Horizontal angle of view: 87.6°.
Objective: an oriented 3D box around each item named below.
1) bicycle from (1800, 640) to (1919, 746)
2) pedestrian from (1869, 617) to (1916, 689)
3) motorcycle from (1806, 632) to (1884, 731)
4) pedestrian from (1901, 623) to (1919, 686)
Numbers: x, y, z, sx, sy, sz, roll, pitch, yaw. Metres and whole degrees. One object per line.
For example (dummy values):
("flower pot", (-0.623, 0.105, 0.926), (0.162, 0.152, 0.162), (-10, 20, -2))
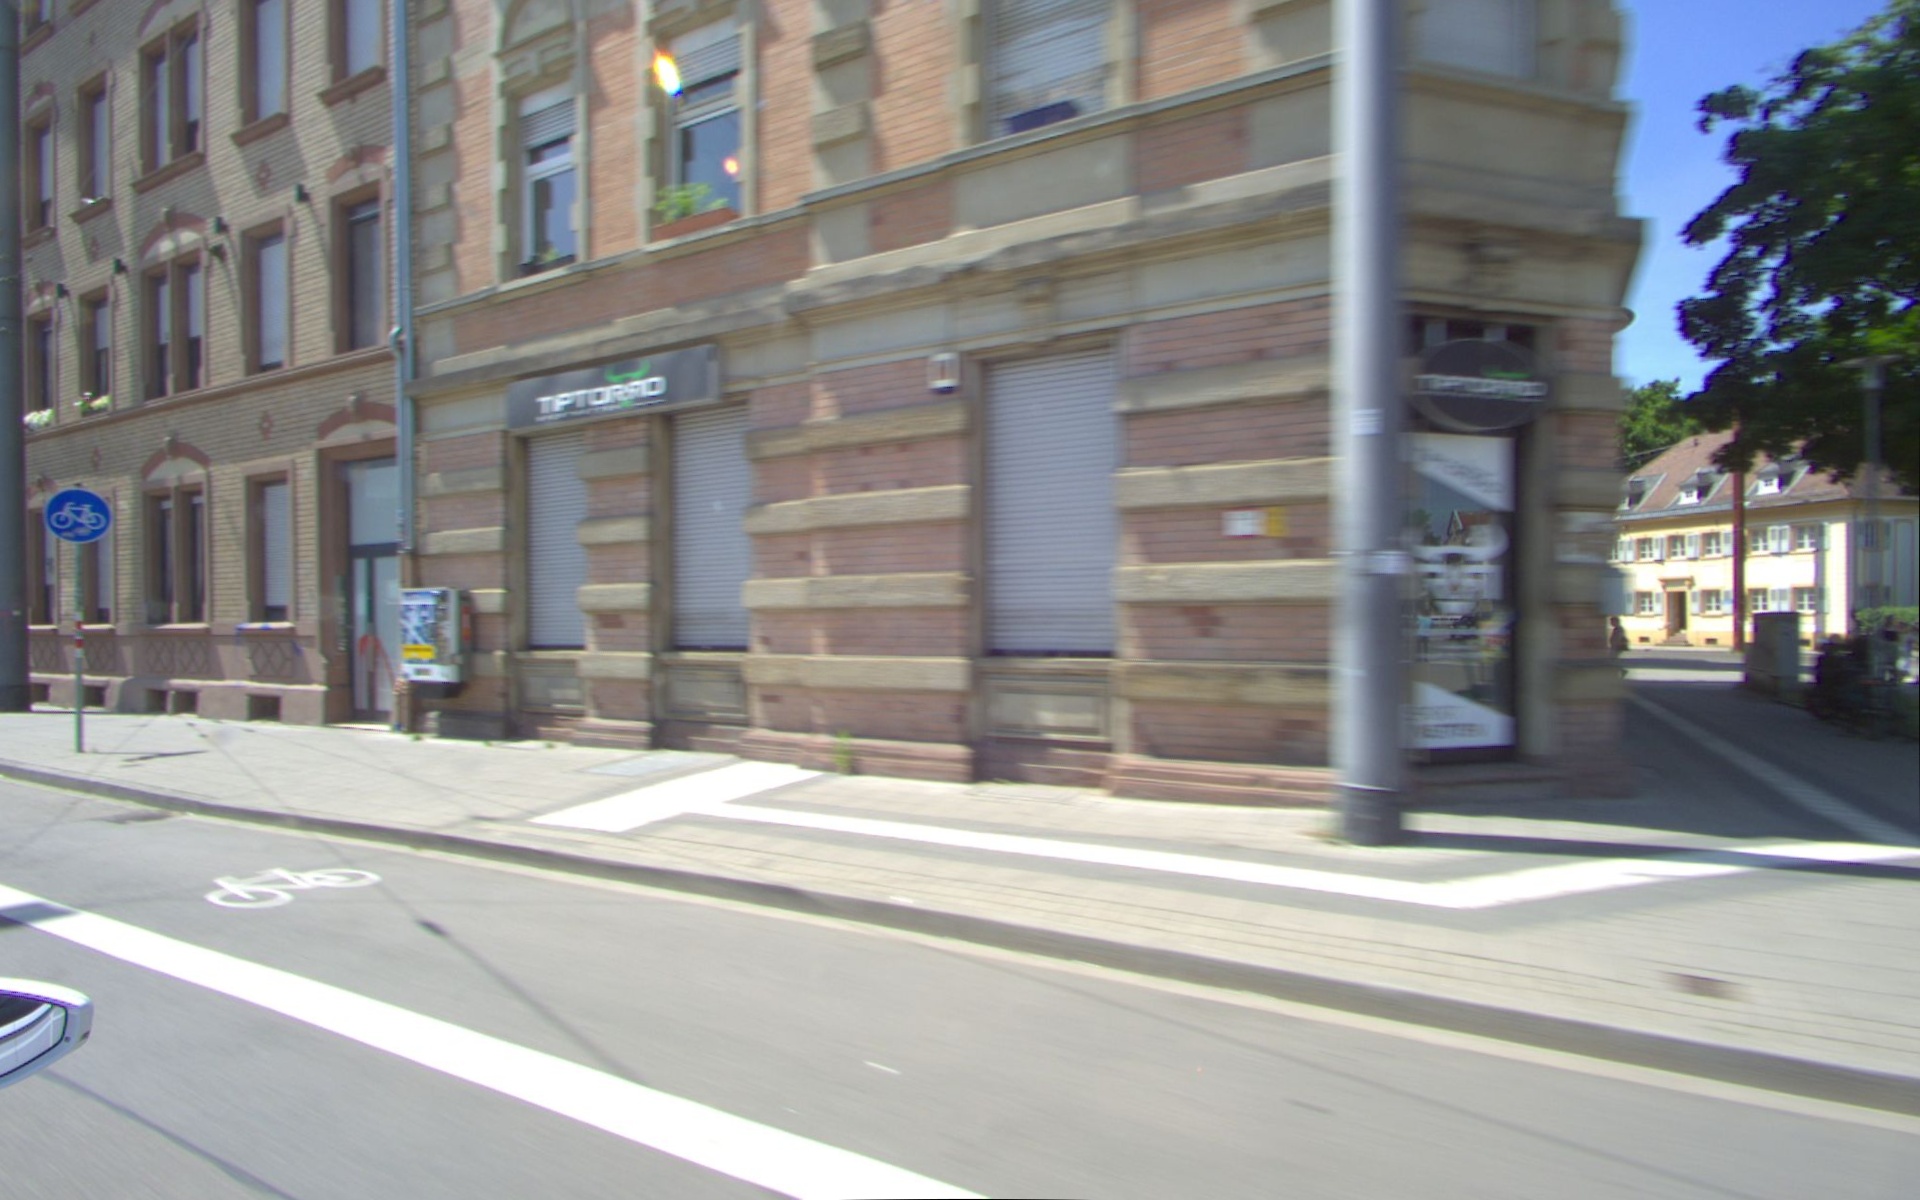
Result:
("bicycle", (11.479, 1.136, 12.737), (0.703, 1.193, 1.877), (0, -1, 23))
("pedestrian", (22.487, 1.261, 24.160), (0.603, 1.721, 0.585), (0, 0, -10))
("motorcycle", (12.618, 1.118, 14.316), (0.495, 1.307, 1.639), (0, -1, 29))
("pedestrian", (22.627, 1.283, 23.472), (0.574, 1.462, 0.614), (0, 0, -10))
